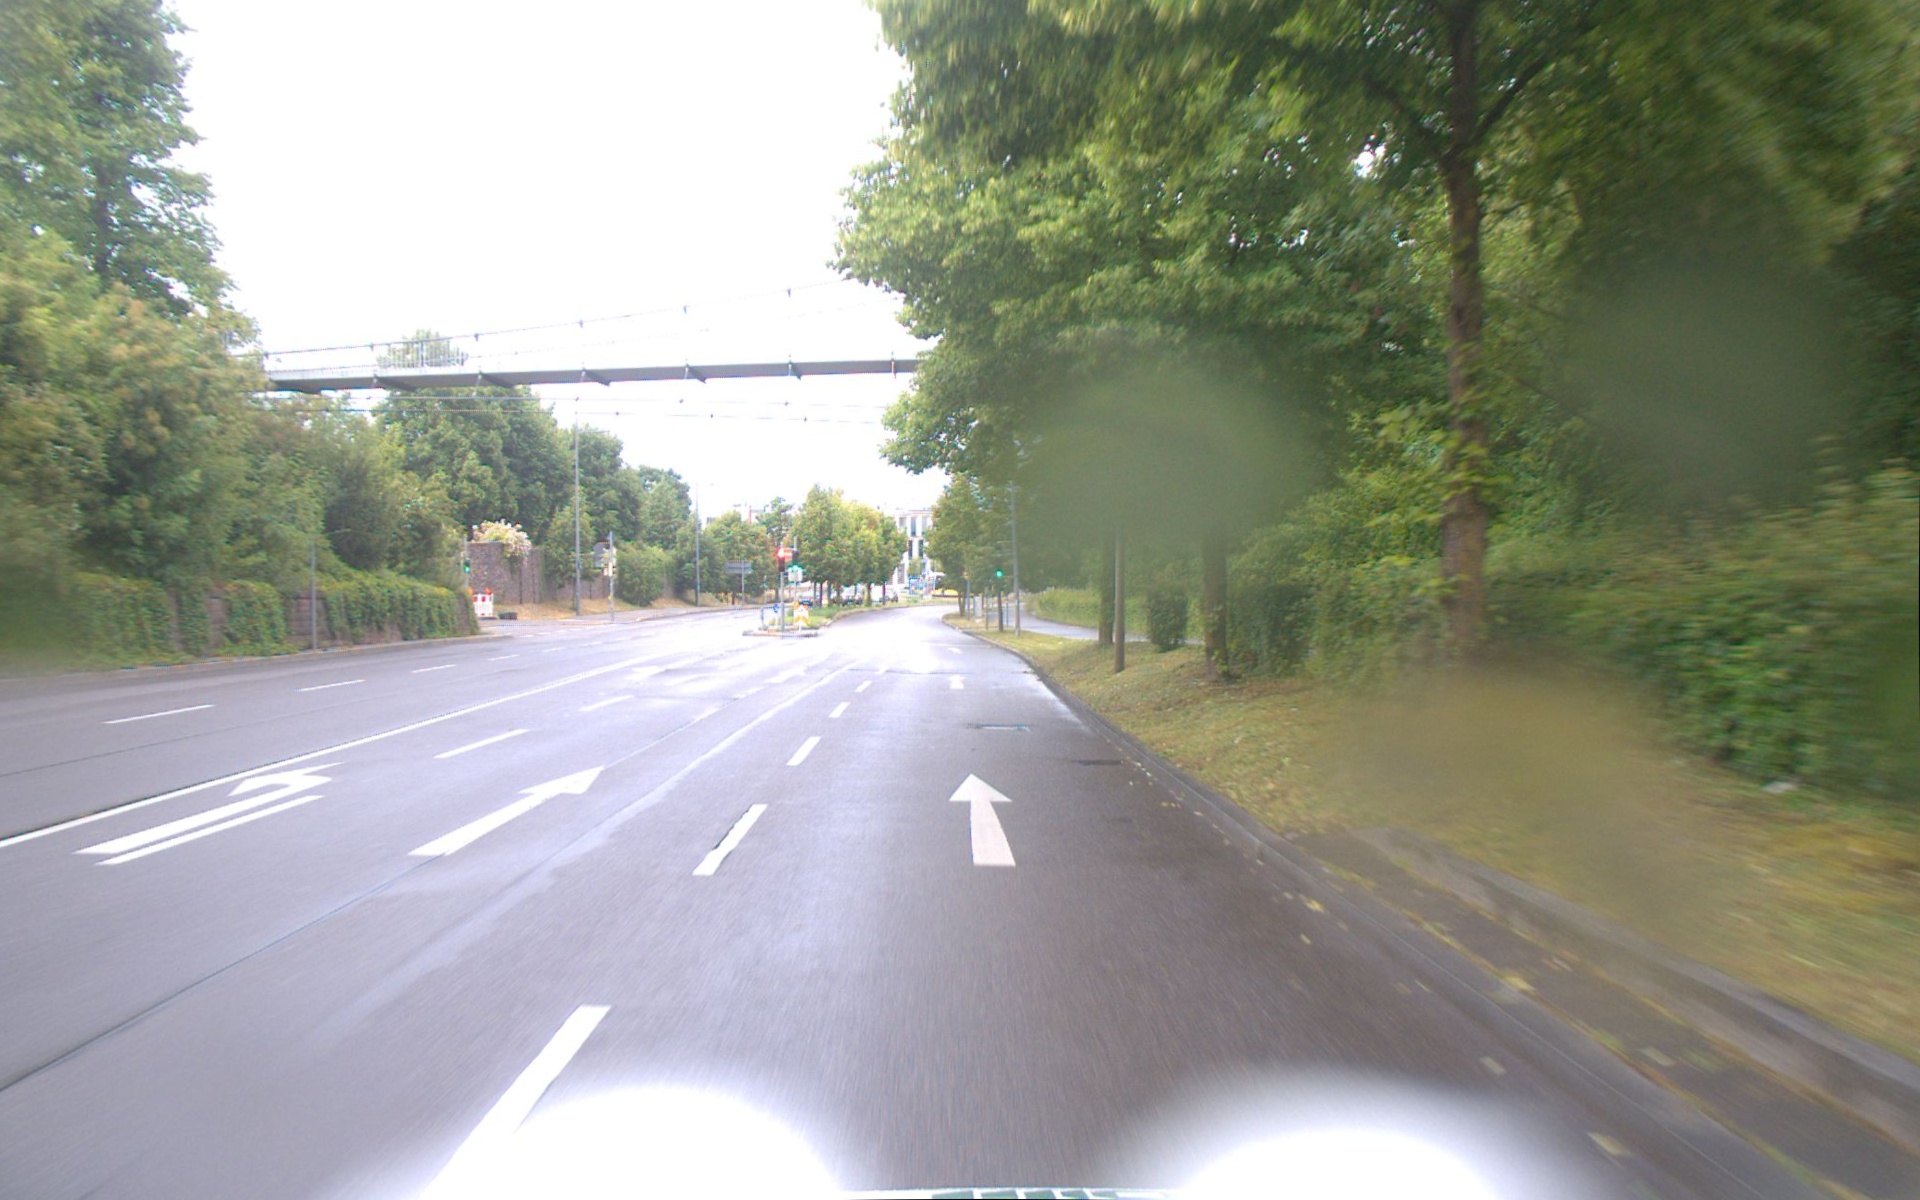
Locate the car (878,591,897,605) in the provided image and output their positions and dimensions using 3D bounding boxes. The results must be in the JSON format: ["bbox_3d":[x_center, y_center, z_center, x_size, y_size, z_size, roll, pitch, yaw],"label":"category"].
[{"bbox_3d":[-8.251,-0.260,187.347,1.650,1.566,2.918,1,1,7],"label":"car"}]

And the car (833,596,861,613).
[{"bbox_3d":[-11.320,0.419,166.108,1.841,1.623,4.770,2,0,7],"label":"car"}]

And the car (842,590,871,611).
[{"bbox_3d":[-9.751,0.066,155.880,1.971,1.953,5.098,1,0,6],"label":"car"}]

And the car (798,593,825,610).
[{"bbox_3d":[-13.482,0.108,150.246,1.564,1.515,4.003,1,0,7],"label":"car"}]
